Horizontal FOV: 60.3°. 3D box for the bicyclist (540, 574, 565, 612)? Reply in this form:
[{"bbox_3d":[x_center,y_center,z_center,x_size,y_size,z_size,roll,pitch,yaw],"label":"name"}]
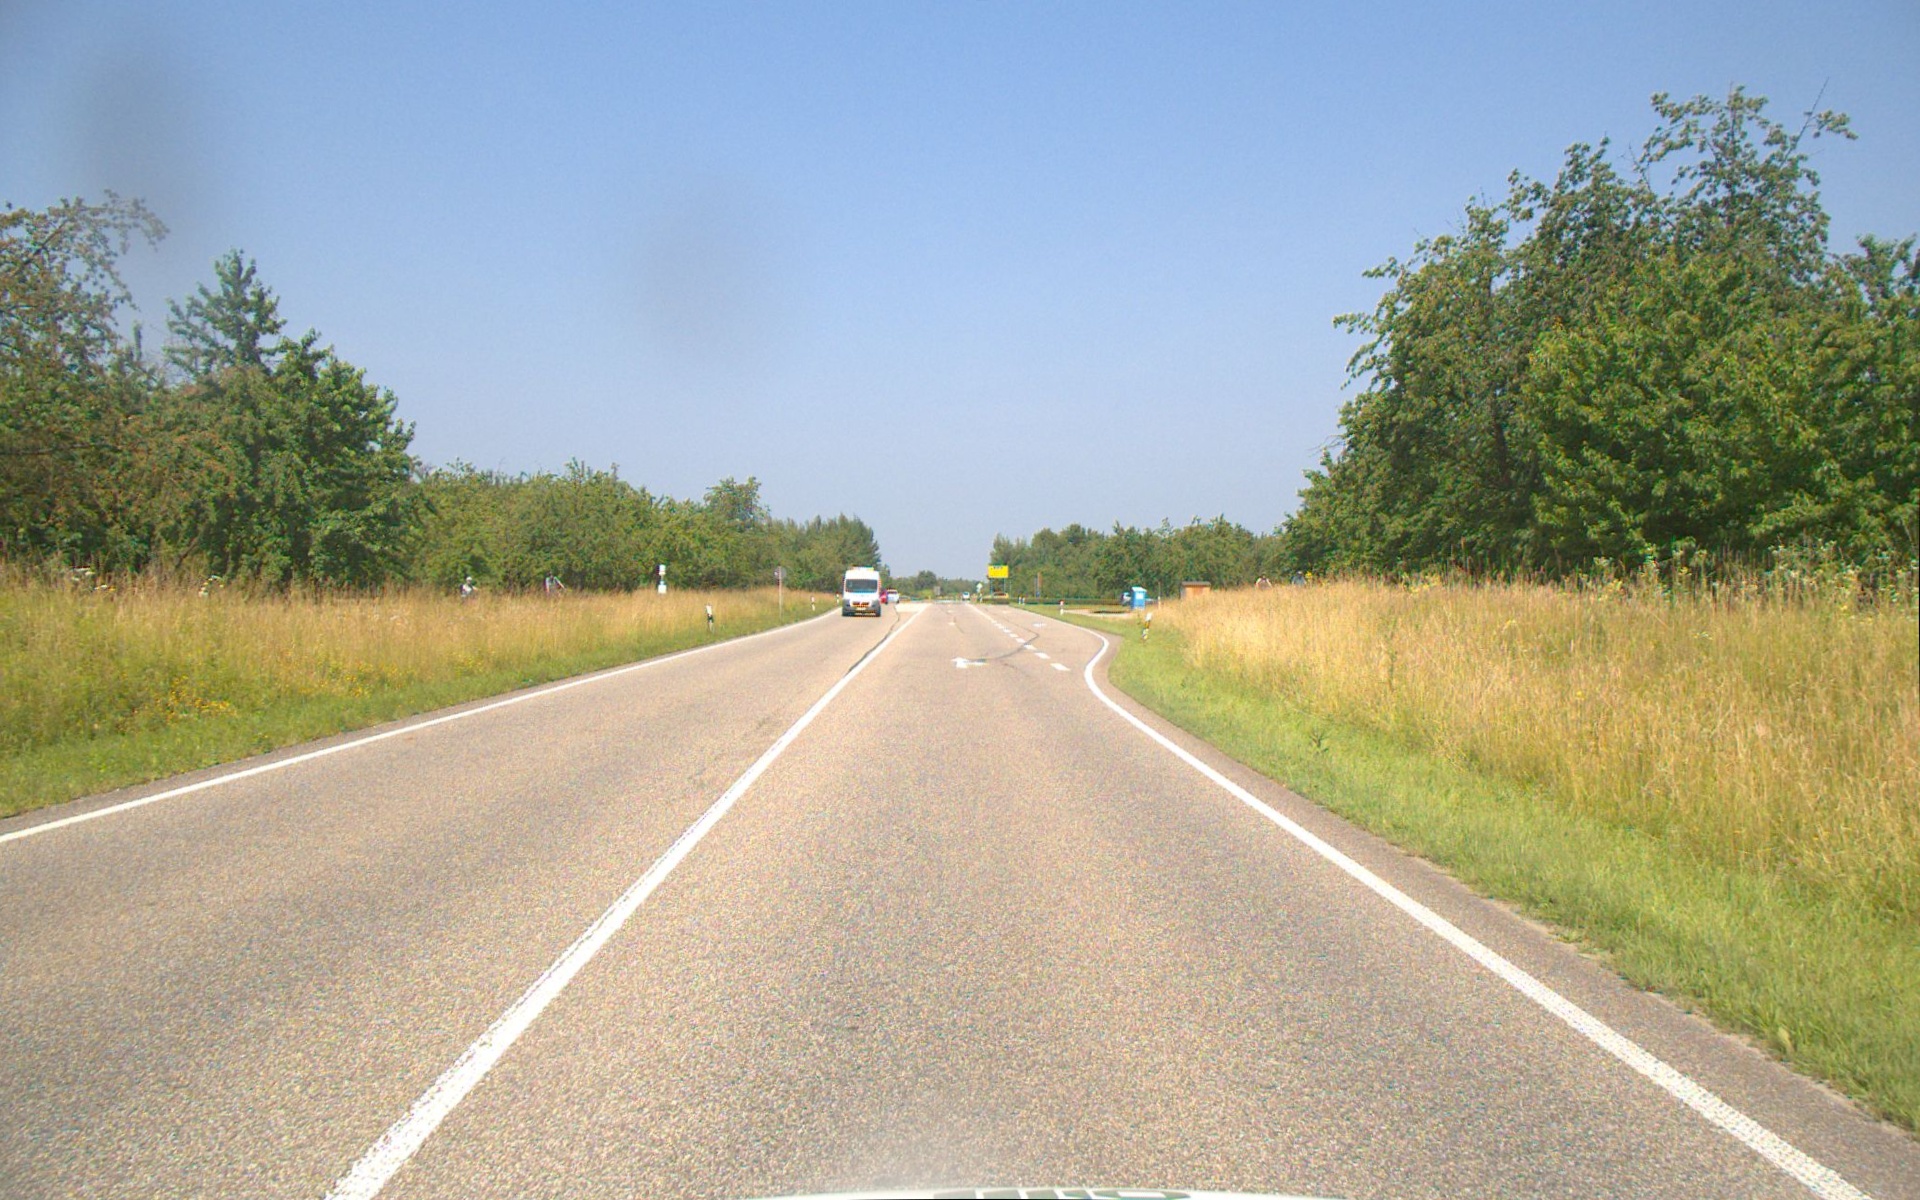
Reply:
[{"bbox_3d":[-15.370,-0.262,62.376,0.636,1.439,0.853,1,-1,-34],"label":"bicyclist"}]

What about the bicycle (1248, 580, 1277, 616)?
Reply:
[{"bbox_3d":[12.319,-0.089,67.371,0.734,1.443,2.221,-1,0,-1],"label":"bicycle"}]

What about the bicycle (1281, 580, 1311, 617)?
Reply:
[{"bbox_3d":[13.607,-0.076,67.036,0.734,1.443,2.221,-1,0,-1],"label":"bicycle"}]

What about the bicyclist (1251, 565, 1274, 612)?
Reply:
[{"bbox_3d":[12.318,-0.470,67.391,0.734,1.899,0.869,-1,0,-1],"label":"bicyclist"}]

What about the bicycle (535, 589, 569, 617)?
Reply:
[{"bbox_3d":[-15.381,0.114,62.374,0.643,1.006,1.932,1,-1,-33],"label":"bicycle"}]

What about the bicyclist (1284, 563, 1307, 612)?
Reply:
[{"bbox_3d":[13.605,-0.523,67.046,0.734,1.963,0.827,-1,0,-1],"label":"bicyclist"}]

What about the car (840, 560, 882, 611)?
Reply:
[{"bbox_3d":[-5.383,-0.754,90.764,2.117,2.715,6.141,1,0,-2],"label":"car"}]

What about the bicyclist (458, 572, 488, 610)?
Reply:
[{"bbox_3d":[-19.313,-0.345,65.618,0.843,1.480,0.742,0,-1,22],"label":"bicyclist"}]

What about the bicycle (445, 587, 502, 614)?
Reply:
[{"bbox_3d":[-19.316,0.019,65.614,2.172,1.006,0.742,0,-1,22],"label":"bicycle"}]

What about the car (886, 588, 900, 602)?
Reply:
[{"bbox_3d":[-7.798,-0.595,193.006,1.641,1.520,4.135,1,0,-3],"label":"car"}]
